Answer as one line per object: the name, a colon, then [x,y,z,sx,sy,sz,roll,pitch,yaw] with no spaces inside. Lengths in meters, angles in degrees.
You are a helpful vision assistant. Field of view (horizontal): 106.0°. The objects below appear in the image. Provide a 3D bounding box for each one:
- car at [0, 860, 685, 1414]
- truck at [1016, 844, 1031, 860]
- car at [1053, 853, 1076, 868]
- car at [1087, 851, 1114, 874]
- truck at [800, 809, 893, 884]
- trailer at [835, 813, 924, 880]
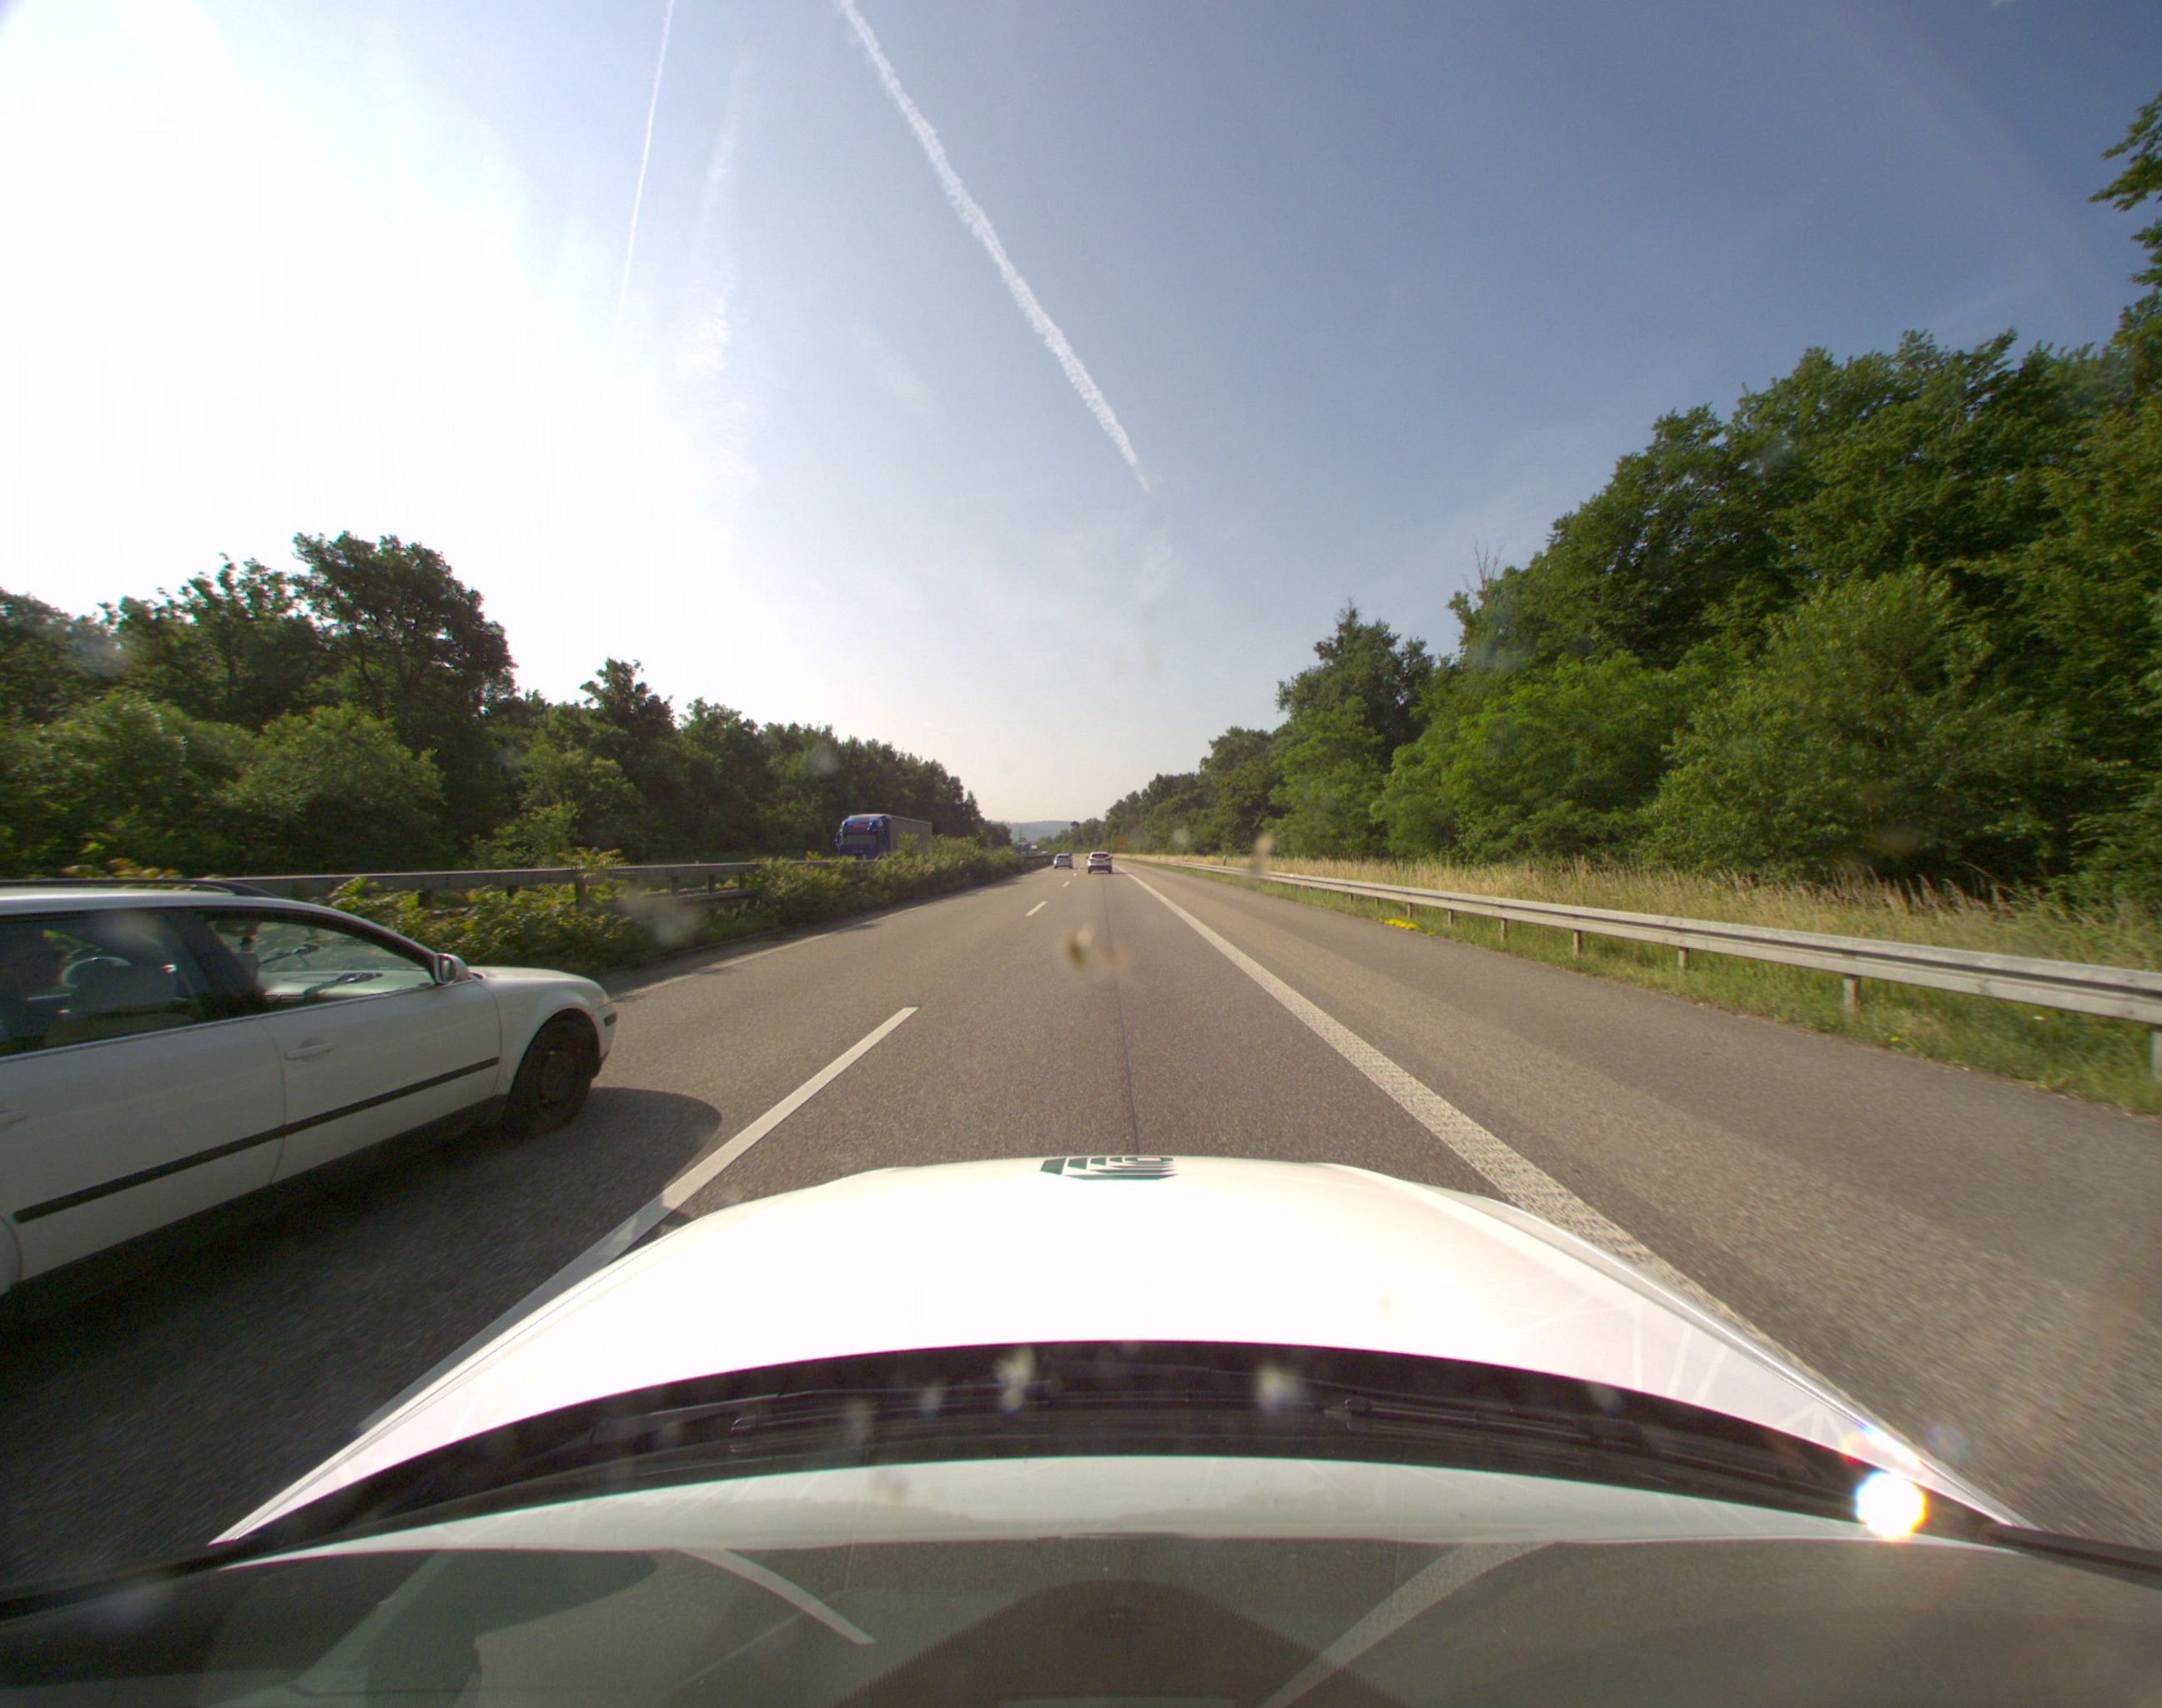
car: [-3.810,0.796,3.273,1.743,1.485,5.265,0,0,1]
truck: [-13.786,-0.506,195.138,2.793,3.770,8.474,0,0,0]
car: [-1.631,0.616,81.391,1.784,1.438,5.283,-1,0,3]
car: [1.471,0.597,60.575,1.866,1.586,4.002,1,0,1]
truck: [-13.540,-0.426,47.887,2.774,3.998,8.419,0,0,2]
trailer: [-13.337,-0.474,55.076,2.821,3.998,11.438,0,0,2]
